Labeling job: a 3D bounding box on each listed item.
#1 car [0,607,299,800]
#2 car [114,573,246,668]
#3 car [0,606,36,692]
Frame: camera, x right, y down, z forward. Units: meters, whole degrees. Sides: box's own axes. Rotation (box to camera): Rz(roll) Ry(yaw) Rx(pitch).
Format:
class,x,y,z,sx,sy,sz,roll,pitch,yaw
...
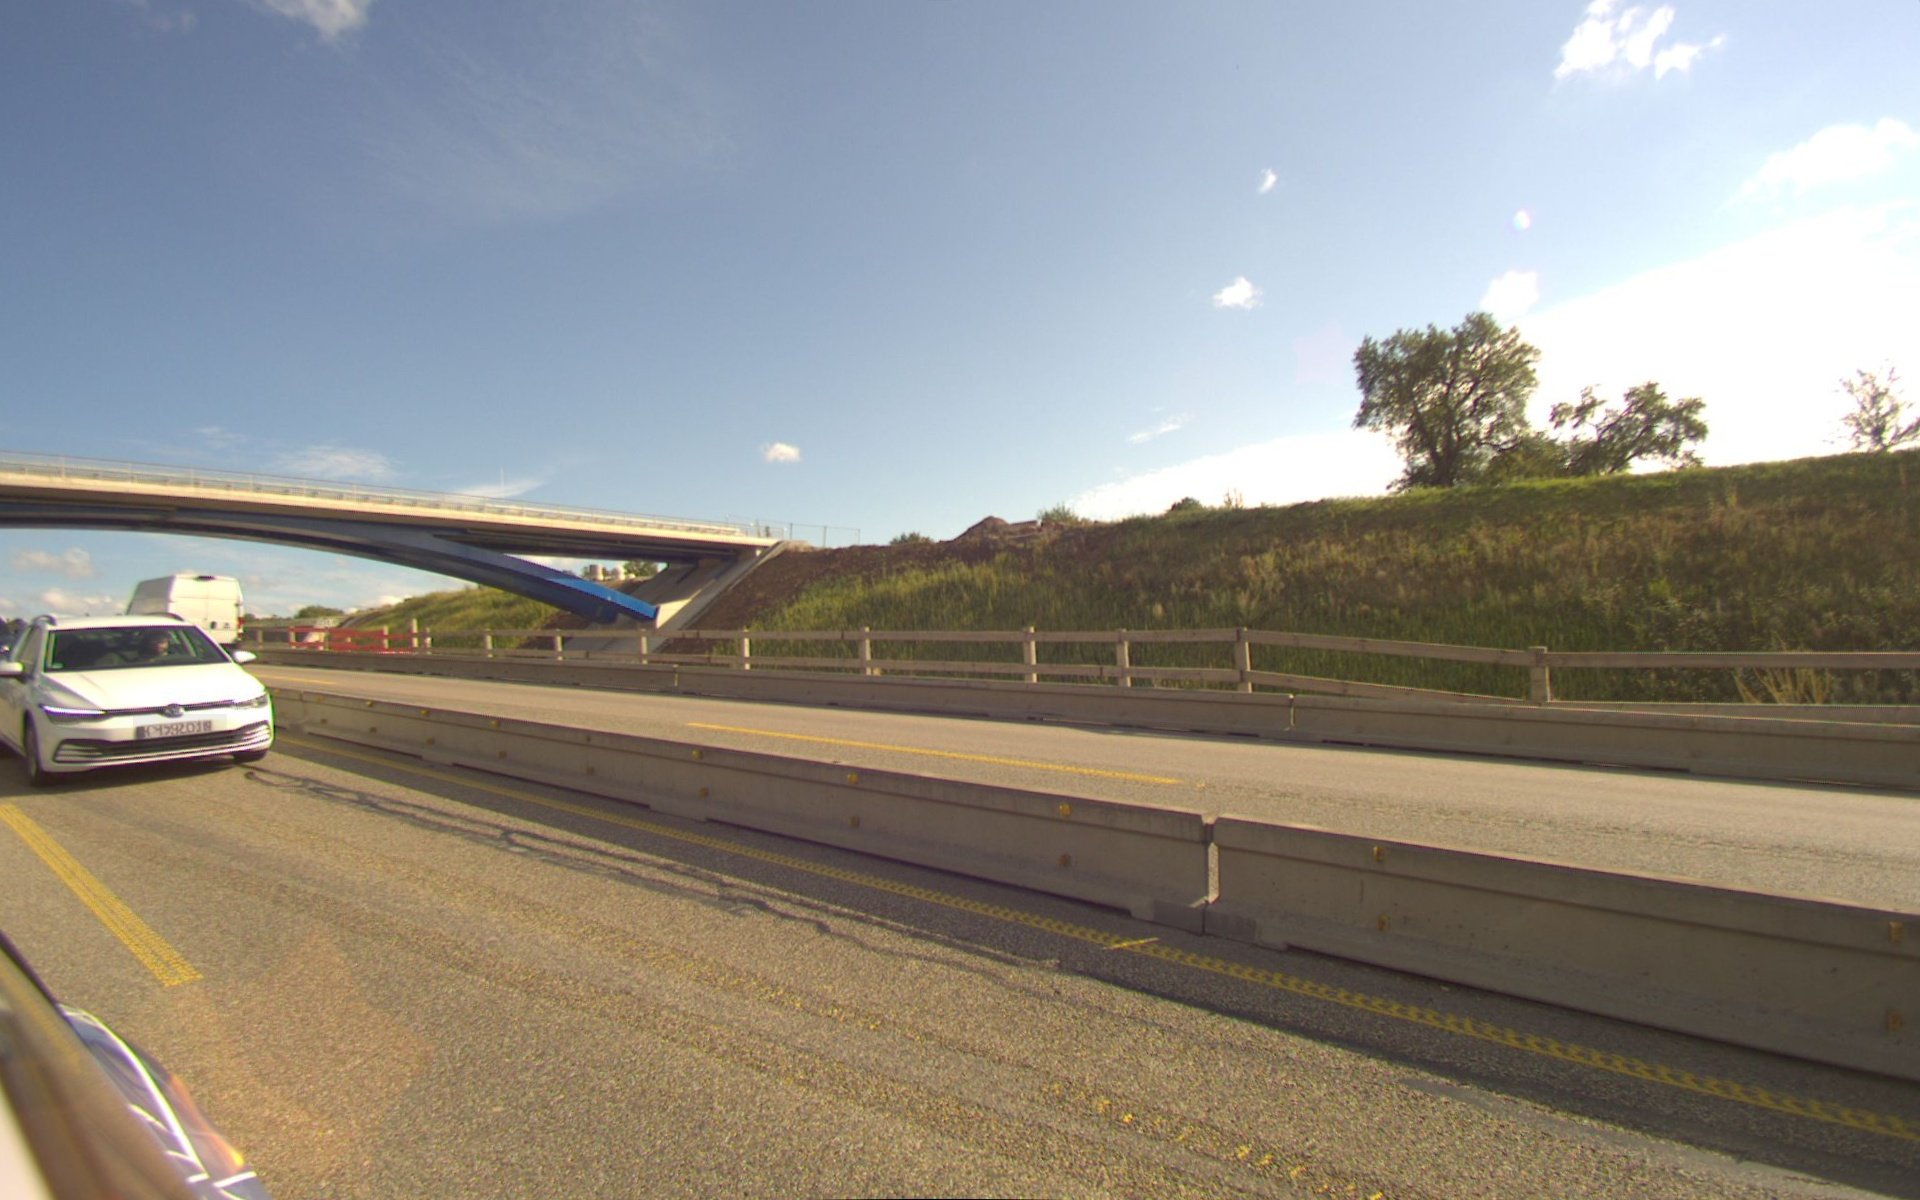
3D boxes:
class,x,y,z,sx,sy,sz,roll,pitch,yaw
car,-8.409,0.864,10.218,4.372,1.507,1.802,-1,0,42
car,-25.576,0.693,33.103,6.134,2.857,2.088,-1,-3,40
car,-20.706,0.997,21.001,4.258,1.689,1.831,-1,0,42
